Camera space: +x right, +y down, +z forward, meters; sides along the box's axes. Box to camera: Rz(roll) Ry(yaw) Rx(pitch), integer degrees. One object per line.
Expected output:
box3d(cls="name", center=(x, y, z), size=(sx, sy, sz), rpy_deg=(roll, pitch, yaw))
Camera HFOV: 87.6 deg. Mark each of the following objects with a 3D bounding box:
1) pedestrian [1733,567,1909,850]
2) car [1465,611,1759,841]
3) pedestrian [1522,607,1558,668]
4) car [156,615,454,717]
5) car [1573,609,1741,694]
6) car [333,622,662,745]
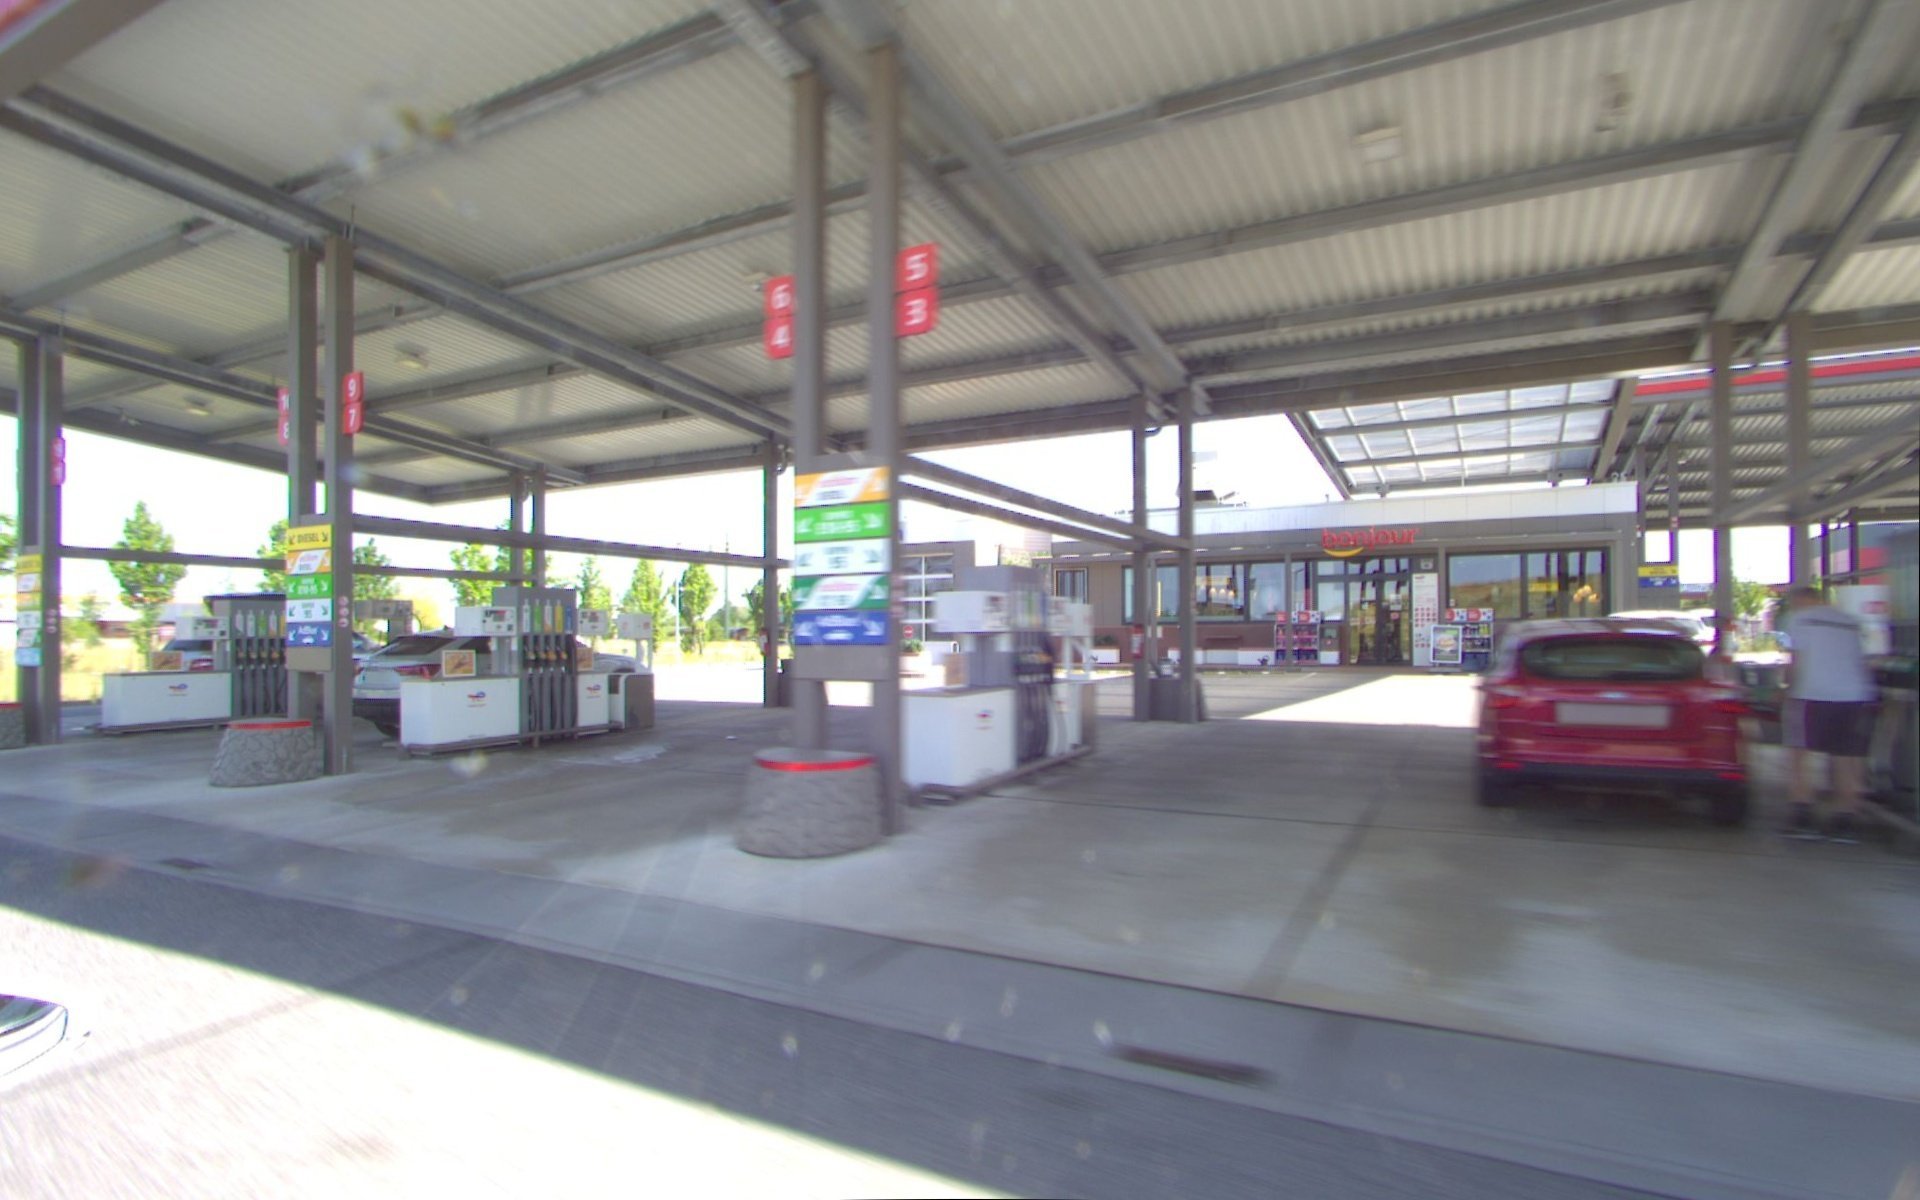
box3d(cls="pedestrian", center=(5.695, 0.676, 6.683), size=(0.693, 1.725, 0.924), rpy_deg=(-1, -1, 29))
box3d(cls="car", center=(5.418, 0.869, 8.758), size=(1.678, 1.488, 4.216), rpy_deg=(-1, -1, 28))
box3d(cls="pedestrian", center=(14.078, 0.907, 24.328), size=(0.692, 1.450, 0.670), rpy_deg=(-1, -1, 28))
box3d(cls="car", center=(-12.312, 1.154, 19.214), size=(1.835, 1.709, 4.522), rpy_deg=(-1, -1, 24))
box3d(cls="car", center=(13.581, 0.957, 19.800), size=(1.805, 1.475, 4.310), rpy_deg=(-1, -1, 22))
box3d(cls="car", center=(-6.725, 1.125, 15.064), size=(1.759, 1.561, 4.308), rpy_deg=(-1, -1, 29))
